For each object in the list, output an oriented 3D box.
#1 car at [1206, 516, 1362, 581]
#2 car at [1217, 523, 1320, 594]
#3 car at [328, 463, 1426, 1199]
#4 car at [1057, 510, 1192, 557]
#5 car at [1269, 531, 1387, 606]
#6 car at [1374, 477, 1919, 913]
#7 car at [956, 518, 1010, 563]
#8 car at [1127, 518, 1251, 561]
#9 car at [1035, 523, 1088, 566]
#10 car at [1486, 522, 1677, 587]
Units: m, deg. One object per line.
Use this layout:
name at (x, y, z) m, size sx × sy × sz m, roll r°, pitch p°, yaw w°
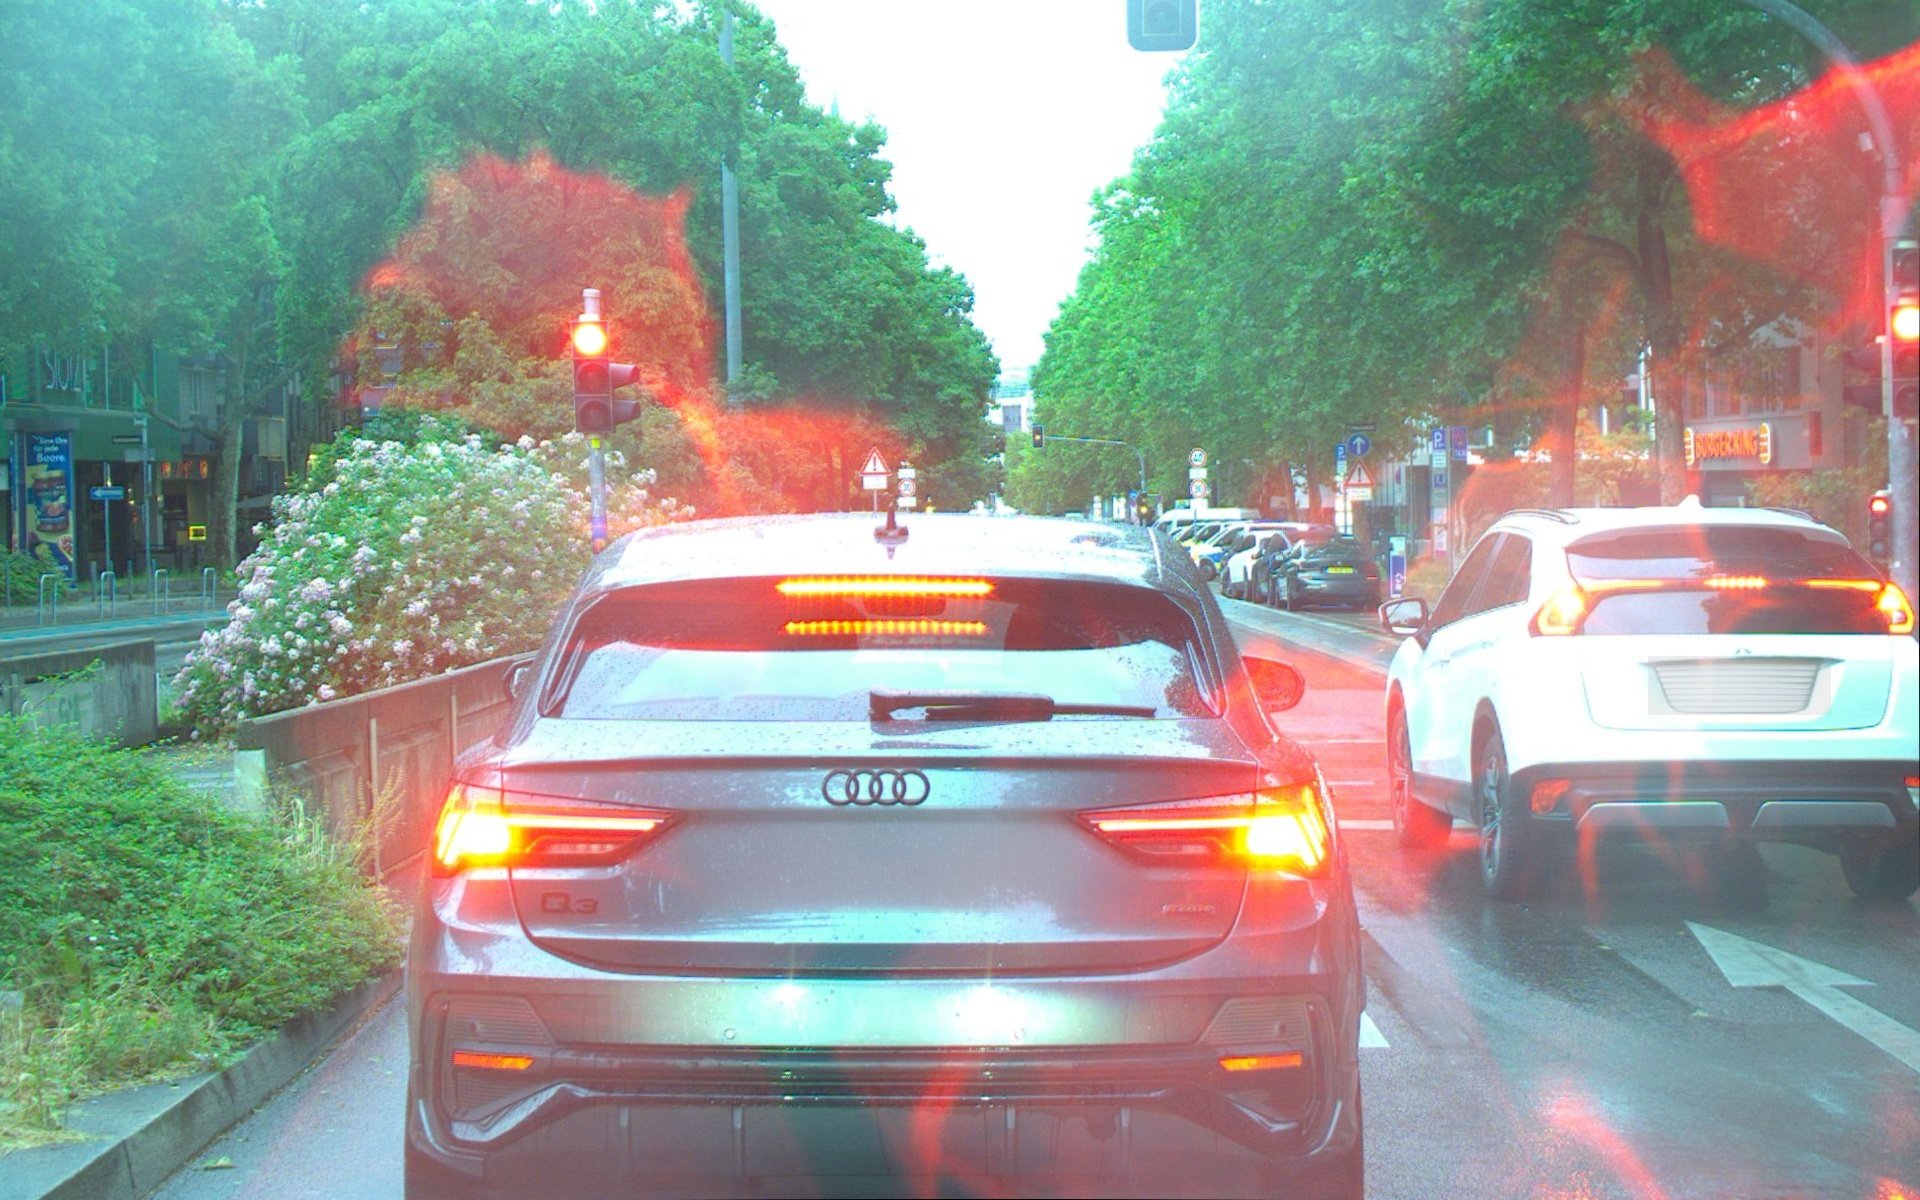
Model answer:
car at (10.304, -1.648, 109.483) m, size 4.602 × 2.007 × 1.964 m, roll 1°, pitch 1°, yaw 39°
car at (7.133, -0.958, 79.776) m, size 1.727 × 1.566 × 4.074 m, roll 1°, pitch 1°, yaw -4°
car at (-0.161, 0.531, 7.799) m, size 1.849 × 1.596 × 4.000 m, roll 0°, pitch 1°, yaw -1°
car at (6.171, -2.515, 129.134) m, size 4.646 × 1.700 × 1.997 m, roll 1°, pitch 1°, yaw 28°
car at (7.350, -0.646, 69.067) m, size 1.873 × 1.416 × 4.611 m, roll 1°, pitch 1°, yaw 0°
car at (3.047, 0.354, 15.506) m, size 1.878 × 1.691 × 4.000 m, roll 1°, pitch 1°, yaw 0°
car at (0.817, -2.160, 126.322) m, size 1.896 × 1.593 × 3.939 m, roll 1°, pitch 1°, yaw 0°
car at (9.342, -2.480, 140.458) m, size 4.646 × 1.700 × 1.997 m, roll 1°, pitch 1°, yaw 28°
car at (4.012, -2.201, 135.961) m, size 1.993 × 1.645 × 4.000 m, roll 1°, pitch 1°, yaw 1°
car at (10.676, -0.779, 59.110) m, size 2.889 × 1.071 × 1.453 m, roll 1°, pitch 1°, yaw 32°
